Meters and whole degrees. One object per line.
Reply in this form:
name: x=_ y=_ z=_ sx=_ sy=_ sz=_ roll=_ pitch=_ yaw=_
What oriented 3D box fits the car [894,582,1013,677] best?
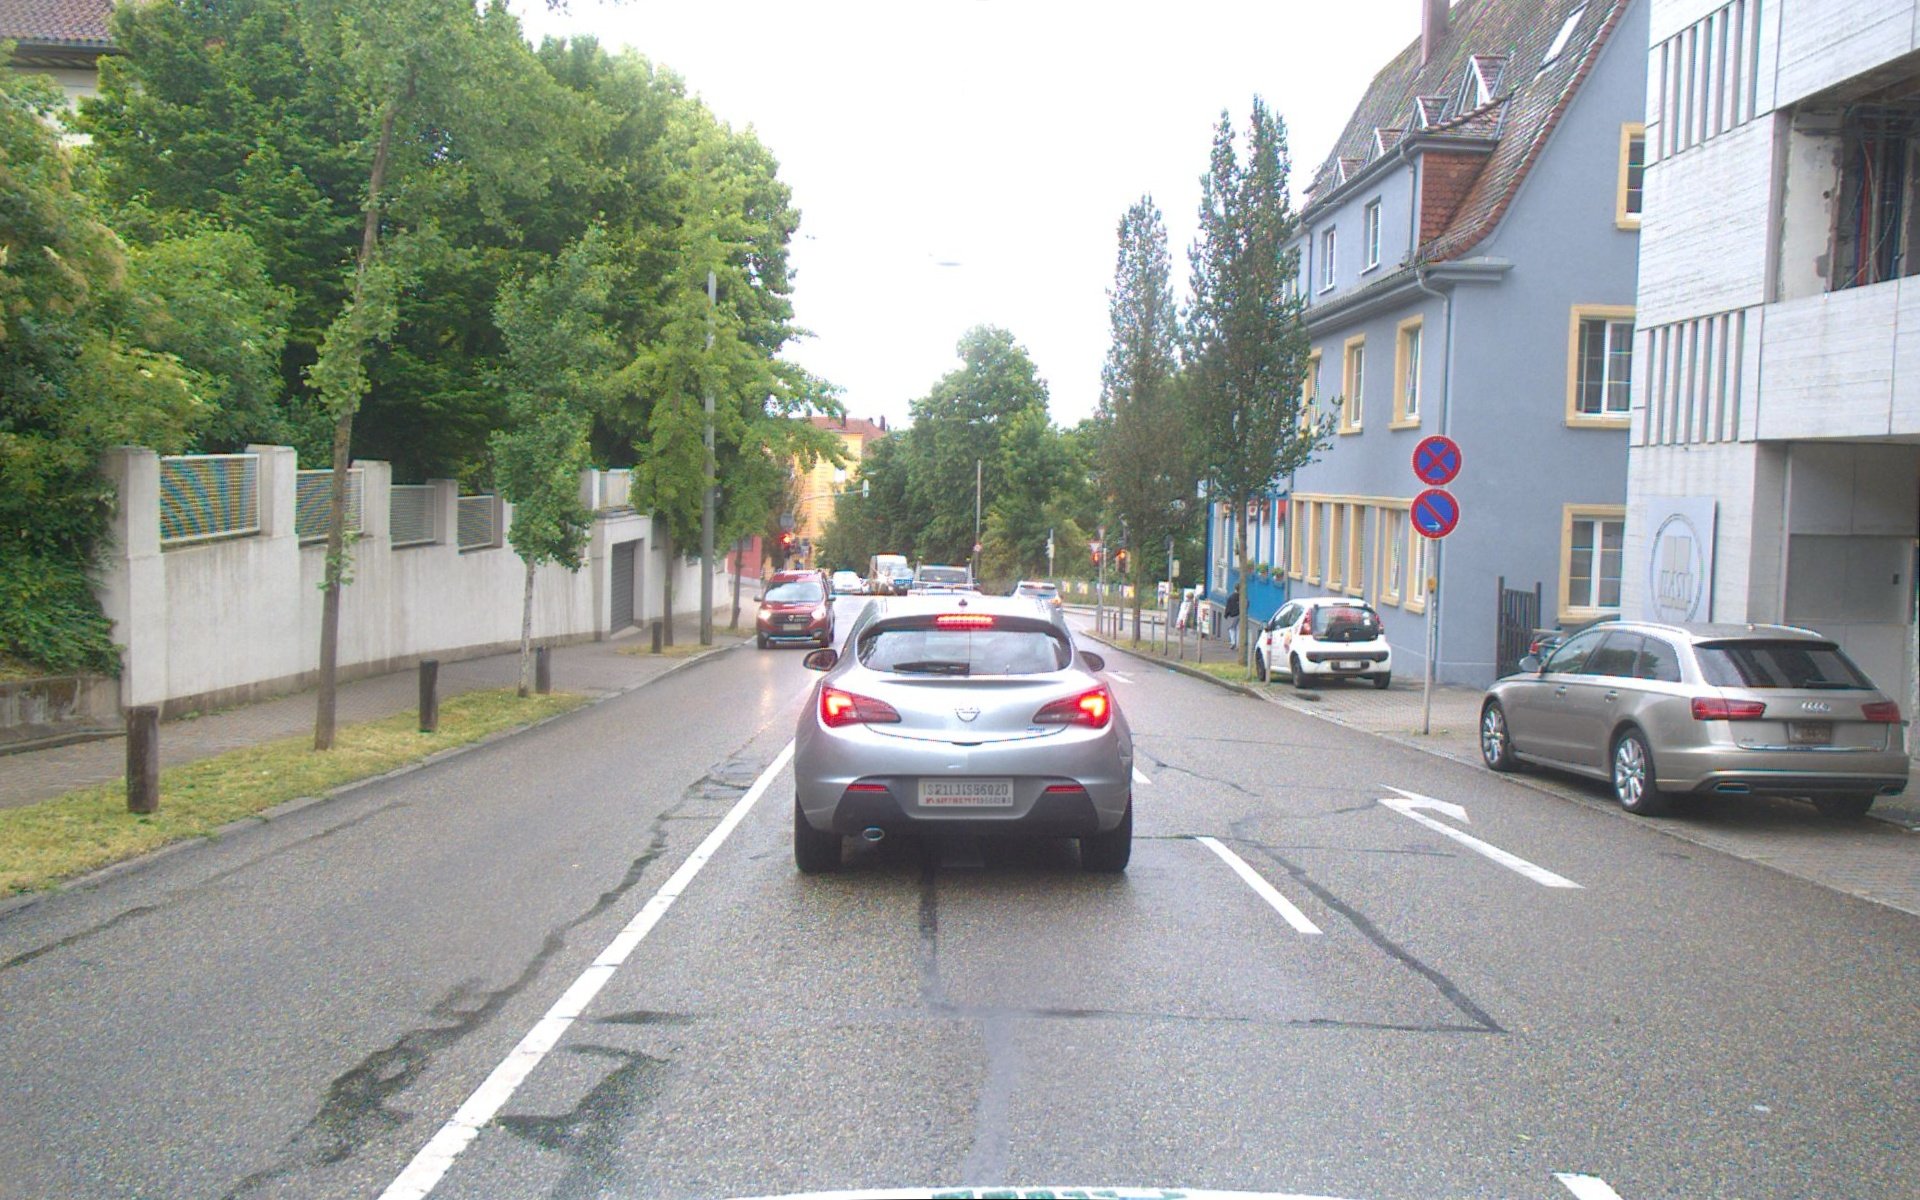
car: x=-0.176 y=0.465 z=29.422 sx=1.922 sy=1.473 sz=4.304 roll=2 pitch=1 yaw=-2

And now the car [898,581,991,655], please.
car: x=-0.393 y=0.354 z=37.080 sx=1.922 sy=1.473 sz=4.304 roll=2 pitch=1 yaw=-2

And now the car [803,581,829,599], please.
car: x=-13.769 y=-0.971 z=157.898 sx=1.696 sy=1.666 sz=3.859 roll=0 pitch=0 yaw=-18

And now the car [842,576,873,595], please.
car: x=-8.609 y=-1.189 z=139.210 sx=1.696 sy=1.570 sz=3.859 roll=0 pitch=0 yaw=-18

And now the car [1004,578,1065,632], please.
car: x=2.455 y=0.152 z=55.153 sx=1.688 sy=1.744 sz=3.878 roll=0 pitch=0 yaw=-3

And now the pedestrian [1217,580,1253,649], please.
pedestrian: x=7.217 y=0.375 z=43.416 sx=0.767 sy=1.759 sz=0.650 roll=2 pitch=0 yaw=-1

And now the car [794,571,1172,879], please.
car: x=0.031 y=0.593 z=9.925 sx=1.800 sy=1.459 sz=3.878 roll=1 pitch=0 yaw=-3

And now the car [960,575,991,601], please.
car: x=1.005 y=-0.799 z=108.913 sx=1.689 sy=1.666 sz=3.876 roll=0 pitch=0 yaw=-4

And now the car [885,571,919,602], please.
car: x=-3.250 y=-0.762 z=92.555 sx=1.833 sy=1.666 sz=3.878 roll=0 pitch=0 yaw=-2

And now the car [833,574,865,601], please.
car: x=-6.347 y=-0.726 z=94.532 sx=1.688 sy=1.485 sz=3.878 roll=0 pitch=0 yaw=-2

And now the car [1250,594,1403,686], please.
car: x=6.291 y=0.637 z=28.778 sx=1.688 sy=1.473 sz=3.878 roll=0 pitch=0 yaw=-2

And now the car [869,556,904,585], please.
car: x=-4.482 y=-1.766 z=100.173 sx=1.691 sy=1.666 sz=3.871 roll=0 pitch=0 yaw=-9

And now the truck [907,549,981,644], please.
truck: x=-0.511 y=-0.130 z=47.078 sx=1.922 sy=2.471 sz=4.934 roll=2 pitch=1 yaw=-2

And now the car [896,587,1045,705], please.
car: x=0.067 y=0.592 z=24.046 sx=1.922 sy=1.473 sz=4.304 roll=2 pitch=1 yaw=-2

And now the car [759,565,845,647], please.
car: x=-3.778 y=0.139 z=40.233 sx=1.711 sy=1.860 sz=4.458 roll=-1 pitch=0 yaw=-1

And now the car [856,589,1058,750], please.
car: x=-0.099 y=0.665 z=18.322 sx=1.922 sy=1.473 sz=4.304 roll=2 pitch=1 yaw=-2

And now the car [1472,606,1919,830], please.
car: x=6.056 y=0.846 z=13.894 sx=1.923 sy=1.473 sz=4.524 roll=1 pitch=1 yaw=-3
